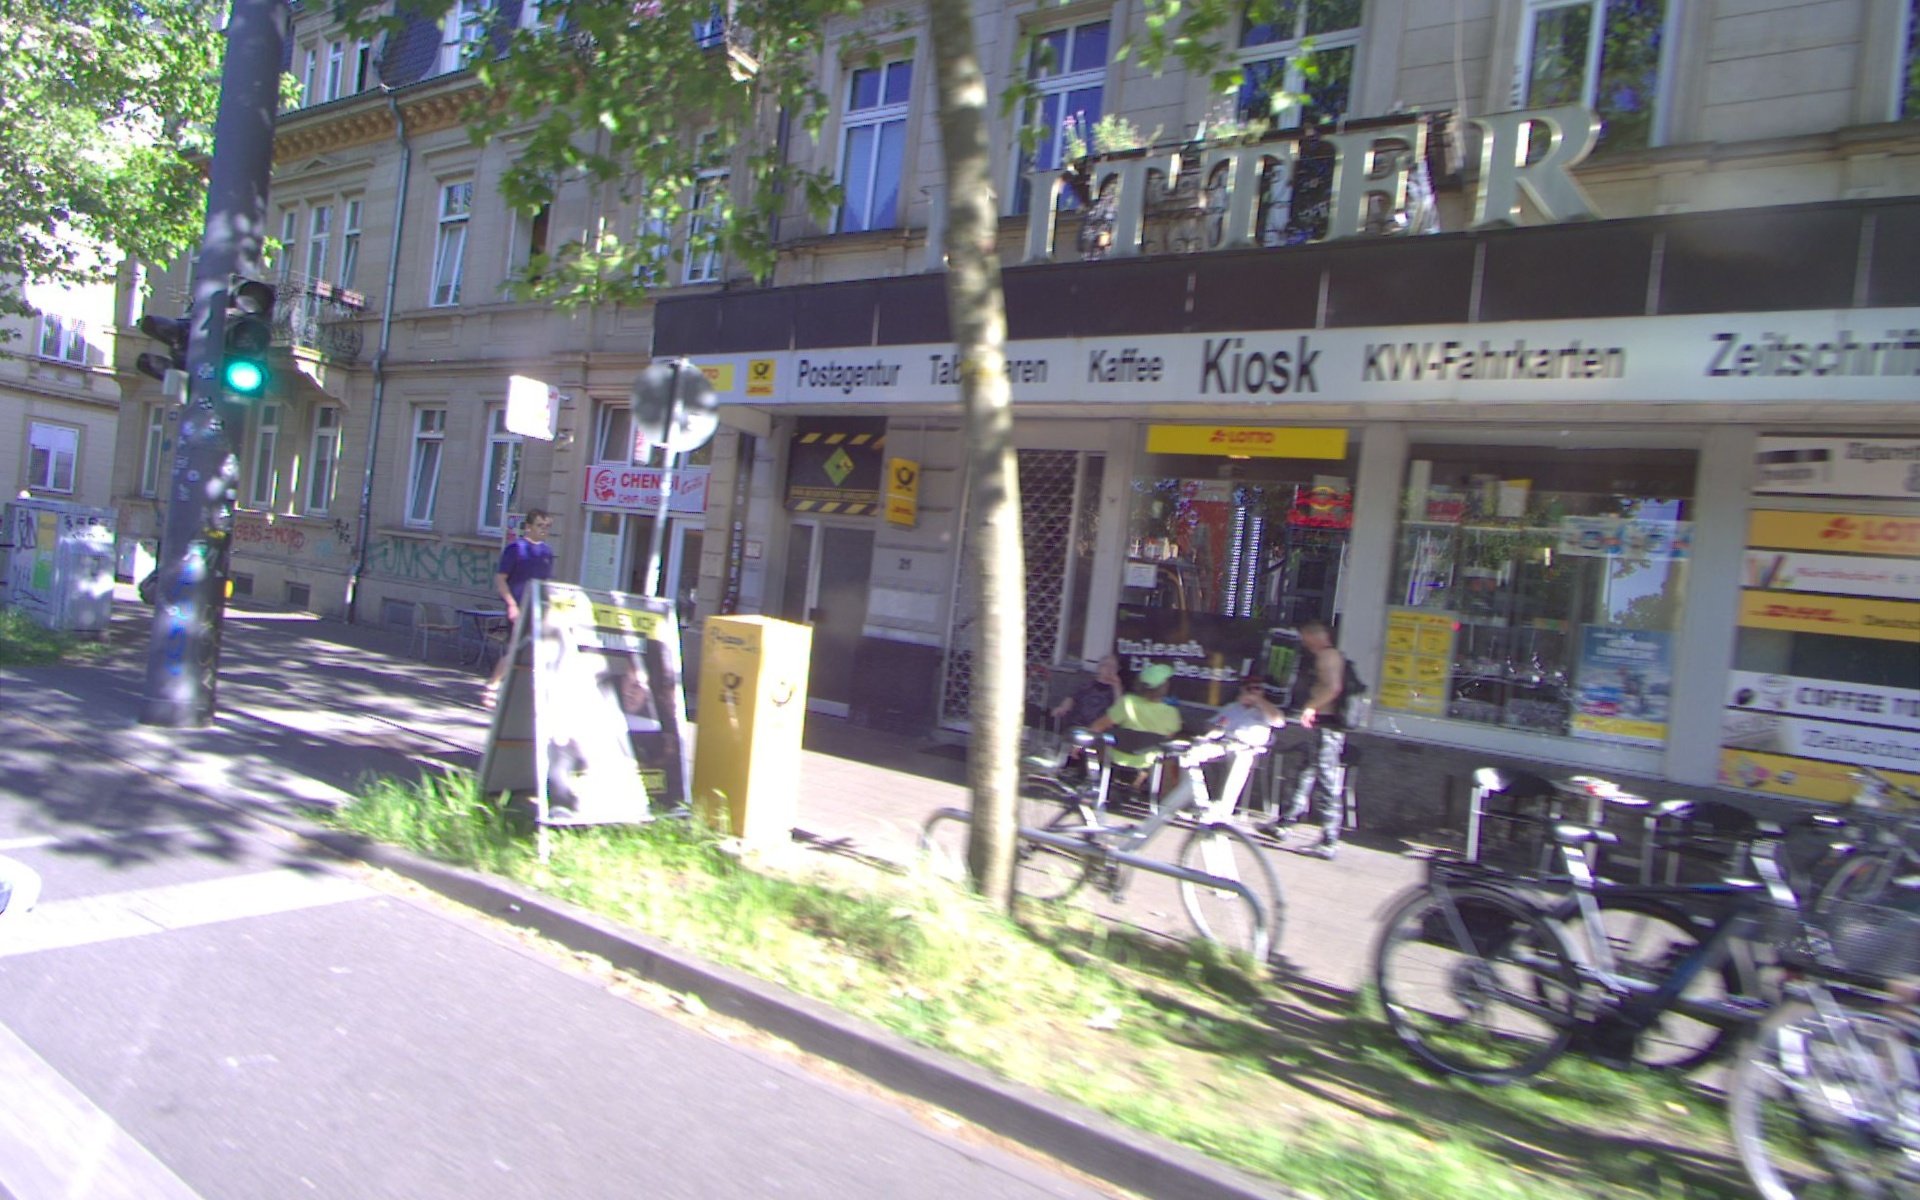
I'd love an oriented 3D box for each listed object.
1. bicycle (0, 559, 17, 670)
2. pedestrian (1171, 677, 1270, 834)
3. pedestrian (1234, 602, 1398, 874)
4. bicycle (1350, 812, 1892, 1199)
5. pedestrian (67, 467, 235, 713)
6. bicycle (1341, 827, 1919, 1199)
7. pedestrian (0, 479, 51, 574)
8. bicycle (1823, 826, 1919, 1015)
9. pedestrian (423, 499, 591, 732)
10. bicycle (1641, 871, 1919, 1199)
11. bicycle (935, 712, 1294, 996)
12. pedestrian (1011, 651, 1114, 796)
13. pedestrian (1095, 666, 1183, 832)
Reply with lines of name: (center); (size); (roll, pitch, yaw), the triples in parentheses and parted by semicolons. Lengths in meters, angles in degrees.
bicycle: (-9.571, 0.026, 9.494); (1.721, 0.981, 0.429); (9, -1, 31)
pedestrian: (2.215, 1.288, 8.513); (0.599, 1.174, 0.648); (9, -1, 20)
pedestrian: (2.576, 0.973, 7.334); (0.464, 1.831, 0.768); (9, 0, -27)
bicycle: (2.582, 1.577, 4.129); (1.660, 1.005, 0.444); (9, -1, 30)
pedestrian: (-6.383, -0.078, 7.934); (0.855, 1.792, 0.642); (9, 0, 37)
bicycle: (2.377, 1.552, 3.691); (1.660, 1.005, 0.444); (9, -1, 30)
pedestrian: (-19.847, -1.558, 21.166); (0.942, 1.848, 0.565); (9, 0, 28)
bicycle: (6.264, 2.042, 5.900); (1.660, 1.005, 0.444); (9, -1, 30)
pedestrian: (-4.289, 0.163, 9.545); (0.843, 2.037, 0.883); (9, -1, 34)
bicycle: (2.899, 1.441, 2.650); (1.657, 1.005, 0.444); (9, 0, 16)
bicycle: (0.761, 1.230, 5.205); (1.660, 1.005, 0.444); (9, -1, 30)
pedestrian: (0.928, 1.112, 9.227); (0.662, 1.174, 0.652); (9, -1, -5)
pedestrian: (1.409, 1.152, 8.015); (0.460, 1.174, 0.775); (9, -1, 6)
